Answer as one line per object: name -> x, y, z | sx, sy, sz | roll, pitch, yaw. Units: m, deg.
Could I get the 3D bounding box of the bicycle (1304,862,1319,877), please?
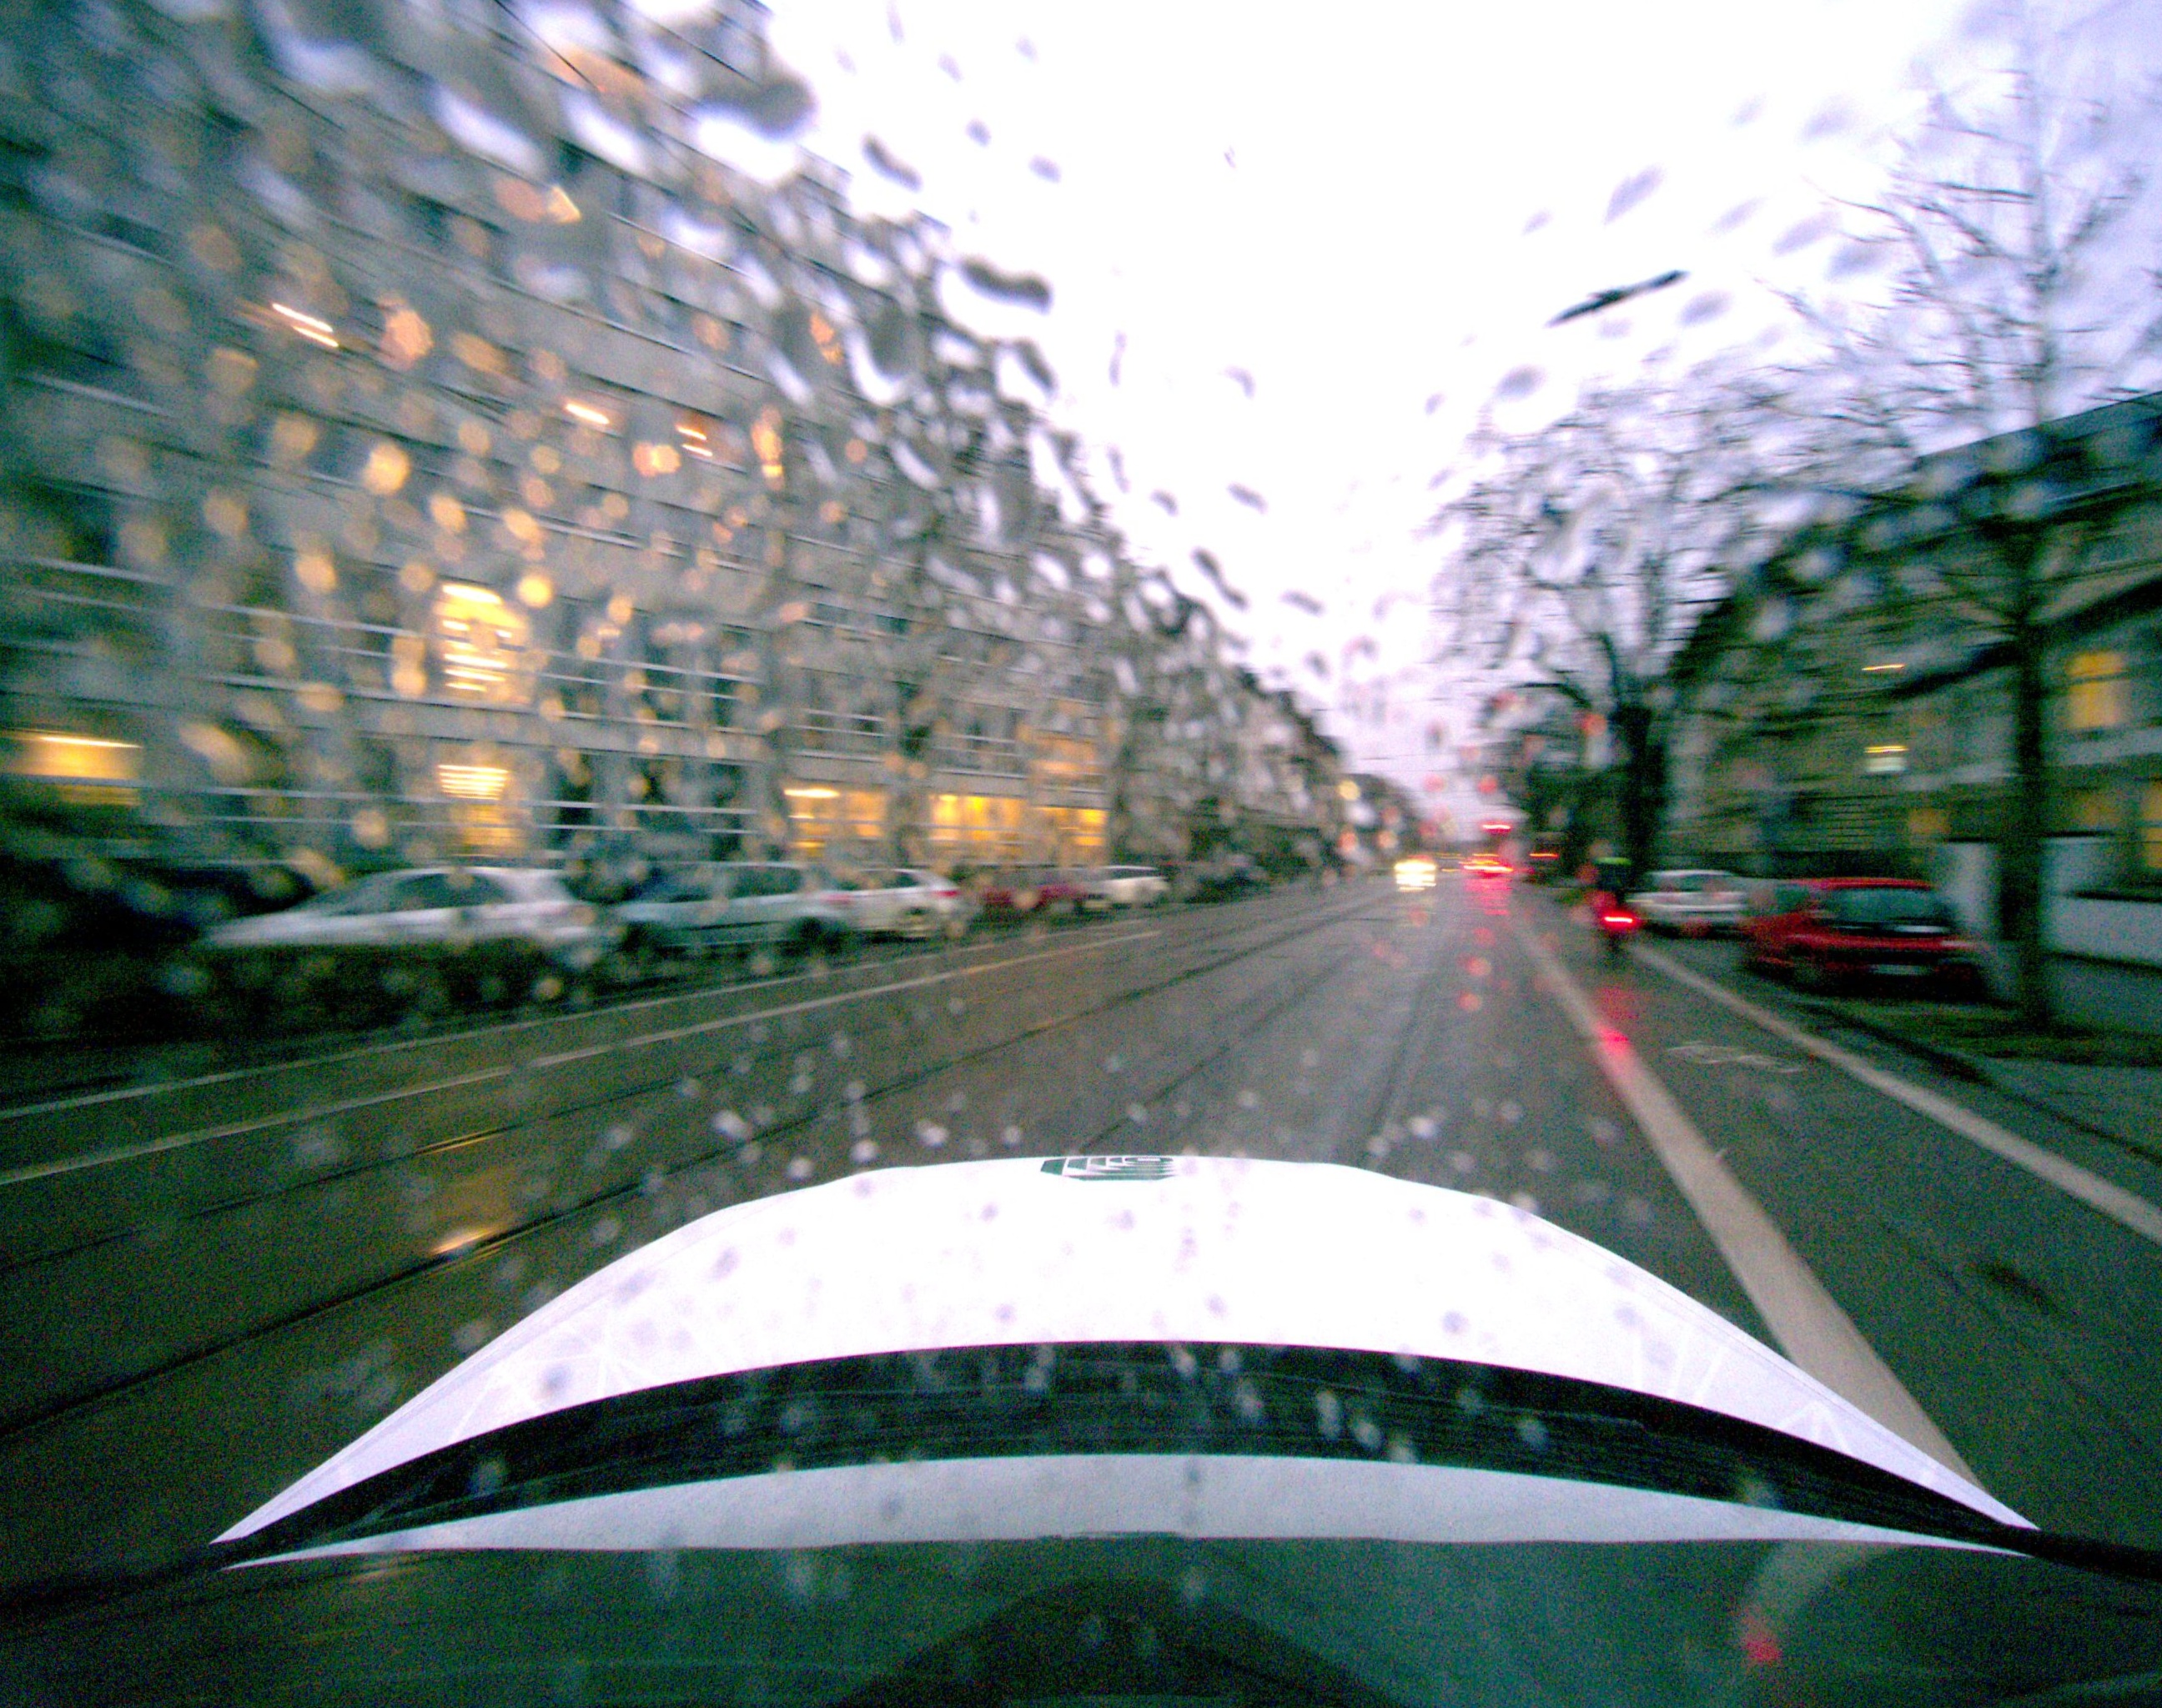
bicycle -> 16.938, 1.156, 59.817 | 0.685, 1.031, 1.604 | -2, -5, 27

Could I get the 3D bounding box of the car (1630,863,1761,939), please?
car -> 14.127, 1.004, 18.936 | 1.676, 1.520, 3.658 | -1, 0, 25

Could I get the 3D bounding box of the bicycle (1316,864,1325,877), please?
bicycle -> 18.739, 1.300, 63.738 | 0.687, 1.031, 1.603 | -1, -2, 17

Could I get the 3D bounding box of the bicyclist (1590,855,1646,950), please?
bicyclist -> 8.469, 0.739, 12.874 | 0.650, 1.446, 0.854 | -1, 0, 29

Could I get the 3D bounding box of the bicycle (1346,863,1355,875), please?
bicycle -> 25.439, 1.419, 76.842 | 0.609, 1.080, 1.820 | -1, 0, 22

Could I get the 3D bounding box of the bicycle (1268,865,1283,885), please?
bicycle -> 11.774, 1.260, 49.334 | 0.686, 1.212, 1.605 | -1, 0, 21

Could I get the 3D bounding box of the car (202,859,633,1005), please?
car -> -8.051, 0.859, 10.348 | 3.875, 1.551, 1.682 | -1, 0, -19

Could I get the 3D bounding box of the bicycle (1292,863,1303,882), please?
bicycle -> 14.211, 1.204, 53.373 | 0.624, 1.212, 1.603 | -1, 0, 17

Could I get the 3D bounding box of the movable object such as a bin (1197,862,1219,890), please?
movable object such as a bin -> 6.818, 1.184, 43.686 | 1.084, 1.450, 1.113 | -1, 0, 5

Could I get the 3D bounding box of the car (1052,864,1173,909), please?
car -> 1.080, 1.089, 28.229 | 3.852, 1.423, 1.725 | -1, 0, -20

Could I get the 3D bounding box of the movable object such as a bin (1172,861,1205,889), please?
movable object such as a bin -> 5.616, 1.092, 42.637 | 1.251, 1.450, 1.334 | -1, 0, 33

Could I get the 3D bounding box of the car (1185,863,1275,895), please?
car -> 7.377, 1.209, 40.299 | 3.996, 1.428, 1.838 | -1, 0, -17

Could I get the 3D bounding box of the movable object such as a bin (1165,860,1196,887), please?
movable object such as a bin -> 5.612, 1.096, 46.058 | 1.251, 1.450, 1.334 | -1, 0, 33

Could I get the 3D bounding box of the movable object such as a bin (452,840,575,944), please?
movable object such as a bin -> -10.900, 0.687, 15.664 | 1.555, 1.860, 1.326 | -1, 1, 27

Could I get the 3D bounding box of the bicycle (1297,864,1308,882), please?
bicycle -> 15.092, 1.299, 55.426 | 0.687, 1.212, 1.603 | -1, 0, 17

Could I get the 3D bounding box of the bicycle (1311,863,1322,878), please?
bicycle -> 17.810, 1.259, 61.553 | 0.686, 1.031, 1.604 | -1, -5, 21

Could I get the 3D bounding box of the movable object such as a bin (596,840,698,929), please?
movable object such as a bin -> -9.643, 0.640, 18.130 | 1.555, 1.860, 1.326 | -1, 1, 27

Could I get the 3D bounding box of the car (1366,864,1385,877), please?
car -> 36.608, 2.064, 101.248 | 1.816, 1.447, 4.024 | -1, 0, 26

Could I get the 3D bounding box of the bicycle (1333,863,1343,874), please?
bicycle -> 22.652, 1.275, 71.858 | 0.620, 1.017, 1.816 | -1, -1, 25

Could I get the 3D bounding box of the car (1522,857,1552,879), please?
car -> 40.971, 1.253, 73.293 | 1.975, 1.900, 5.056 | -1, 0, 25

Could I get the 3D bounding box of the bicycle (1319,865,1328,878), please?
bicycle -> 19.569, 1.412, 65.607 | 0.687, 1.031, 1.603 | -1, -1, 17

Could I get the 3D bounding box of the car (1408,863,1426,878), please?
car -> 46.047, 2.201, 111.642 | 2.027, 1.922, 5.129 | -1, 0, 24

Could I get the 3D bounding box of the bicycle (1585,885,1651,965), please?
bicycle -> 8.559, 1.086, 13.043 | 0.700, 1.097, 2.041 | -1, 0, 29

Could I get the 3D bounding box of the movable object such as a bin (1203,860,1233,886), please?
movable object such as a bin -> 7.797, 1.071, 46.424 | 1.251, 1.450, 1.334 | -1, 0, 33

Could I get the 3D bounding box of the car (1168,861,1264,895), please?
car -> 6.233, 1.088, 37.706 | 3.999, 1.471, 1.820 | 0, 0, -19

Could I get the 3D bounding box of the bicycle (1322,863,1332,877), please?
bicycle -> 20.352, 1.318, 67.322 | 0.482, 1.099, 1.942 | -1, -1, 25

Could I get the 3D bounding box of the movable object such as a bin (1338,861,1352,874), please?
movable object such as a bin -> 31.635, 1.598, 97.428 | 1.396, 1.530, 1.373 | -1, 0, 26

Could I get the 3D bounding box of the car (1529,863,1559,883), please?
car -> 35.733, 1.455, 62.907 | 1.662, 1.460, 4.066 | -1, -1, 25

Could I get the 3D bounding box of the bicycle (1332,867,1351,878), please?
bicycle -> 26.330, 1.850, 82.423 | 1.790, 1.080, 0.619 | -1, 0, 19

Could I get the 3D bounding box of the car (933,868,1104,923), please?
car -> -1.712, 1.091, 22.368 | 4.351, 1.352, 1.737 | -1, -1, -22

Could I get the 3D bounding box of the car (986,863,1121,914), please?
car -> -0.904, 1.047, 25.140 | 3.986, 1.463, 1.731 | -1, -2, -9

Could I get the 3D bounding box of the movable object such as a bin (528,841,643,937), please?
movable object such as a bin -> -10.271, 0.681, 16.922 | 1.555, 1.860, 1.402 | -1, 1, 27

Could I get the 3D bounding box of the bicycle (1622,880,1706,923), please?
bicycle -> 15.336, 1.248, 21.481 | 1.697, 1.071, 0.667 | -1, 0, 26

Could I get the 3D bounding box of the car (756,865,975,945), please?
car -> -4.153, 0.971, 16.257 | 3.983, 1.444, 1.732 | -1, -2, -7

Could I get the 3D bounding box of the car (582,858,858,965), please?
car -> -5.812, 0.871, 13.647 | 3.995, 1.563, 1.727 | -1, 0, -16

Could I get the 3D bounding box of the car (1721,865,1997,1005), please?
car -> 10.424, 0.953, 11.260 | 1.628, 1.523, 3.592 | 0, 0, 24

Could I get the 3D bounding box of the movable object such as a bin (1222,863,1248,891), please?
movable object such as a bin -> 8.210, 1.214, 43.523 | 1.257, 1.450, 1.113 | -1, 0, 4

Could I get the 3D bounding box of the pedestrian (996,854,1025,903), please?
pedestrian -> -2.483, 0.856, 28.797 | 0.591, 1.677, 0.979 | -1, 0, 26

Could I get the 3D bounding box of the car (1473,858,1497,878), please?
car -> 40.650, 1.414, 82.003 | 1.975, 1.897, 4.786 | 1, -1, 25
